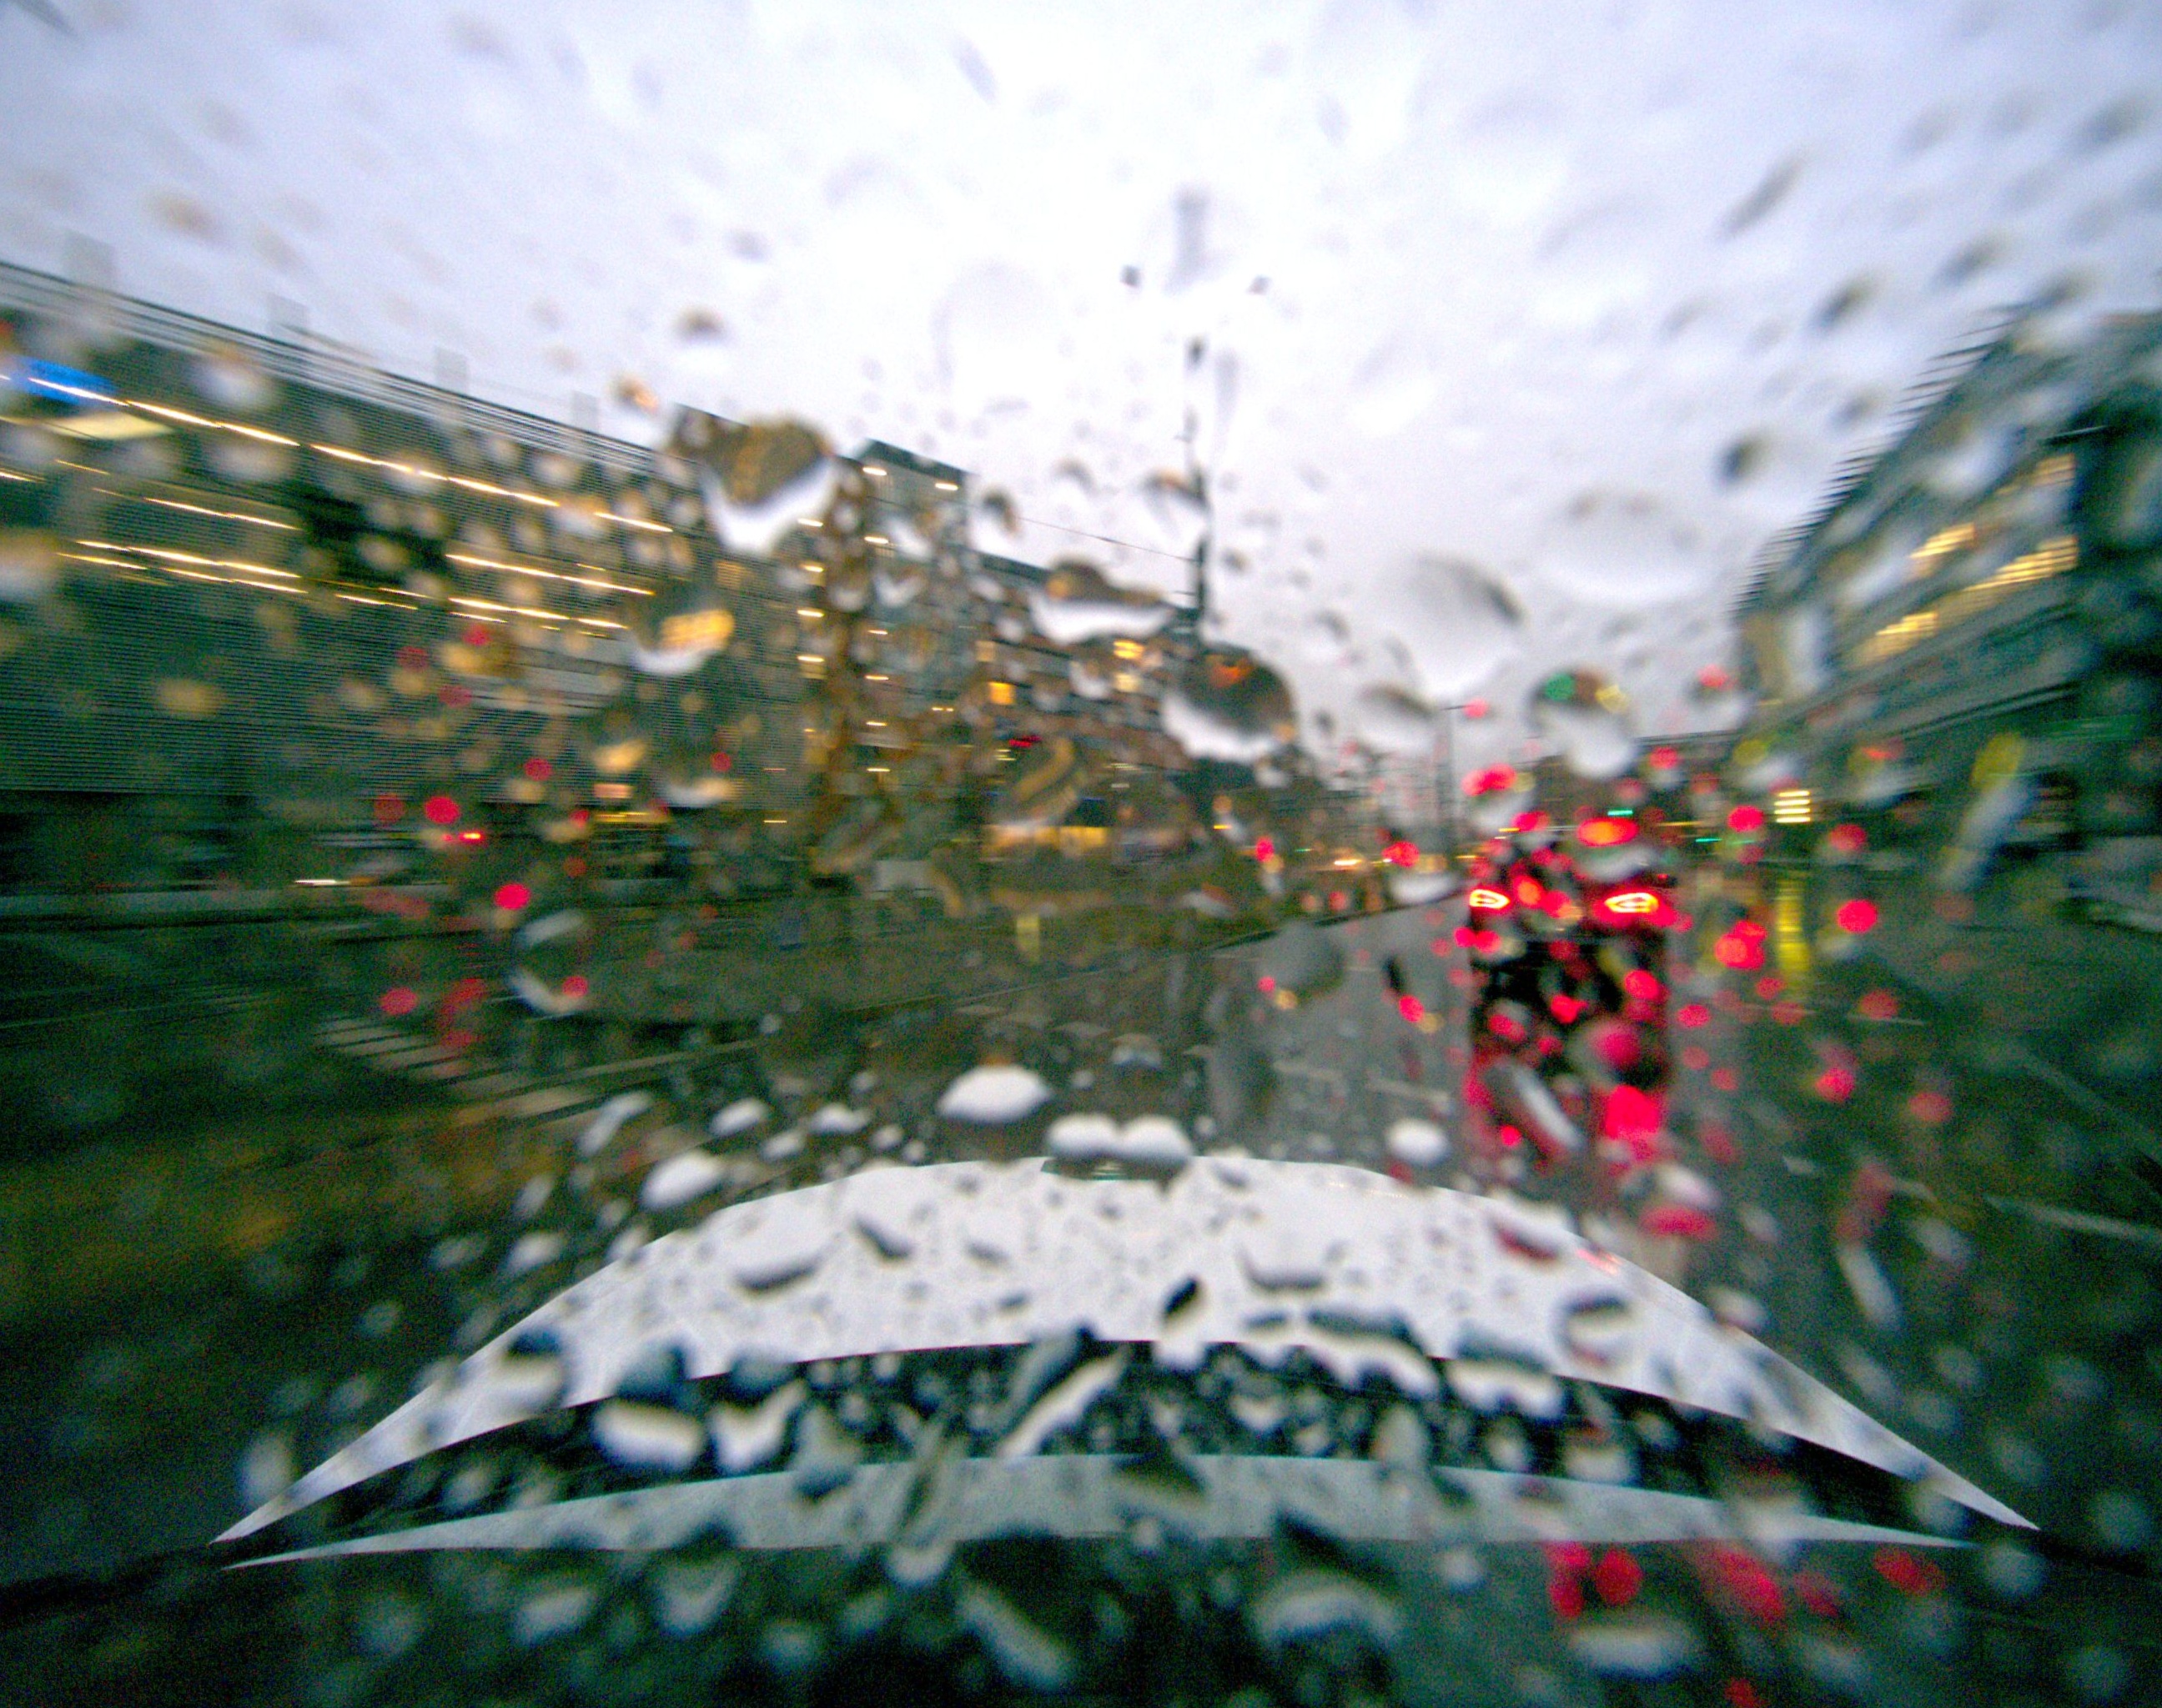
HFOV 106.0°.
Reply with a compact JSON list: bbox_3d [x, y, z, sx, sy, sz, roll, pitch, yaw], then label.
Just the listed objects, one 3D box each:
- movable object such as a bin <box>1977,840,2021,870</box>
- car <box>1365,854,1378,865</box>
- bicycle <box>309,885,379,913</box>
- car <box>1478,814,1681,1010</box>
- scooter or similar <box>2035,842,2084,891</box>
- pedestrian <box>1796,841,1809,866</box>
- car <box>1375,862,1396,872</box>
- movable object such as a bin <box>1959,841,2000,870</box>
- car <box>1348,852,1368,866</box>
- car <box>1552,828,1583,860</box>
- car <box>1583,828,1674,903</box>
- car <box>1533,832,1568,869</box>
[{"bbox_3d":[41.308,0.066,36.649,0.836,1.294,1.175,-3,-2,24],"label":"movable object such as a bin"},{"bbox_3d":[35.800,0.686,100.405,1.493,1.373,3.670,-1,-1,19],"label":"car"},{"bbox_3d":[-30.402,1.839,33.622,2.102,1.122,0.471,1,-2,-40],"label":"bicycle"},{"bbox_3d":[5.935,0.526,9.527,1.657,1.779,4.026,-1,0,35],"label":"car"},{"bbox_3d":[25.329,0.330,21.104,1.565,1.227,0.662,1,-3,-44],"label":"scooter or similar"},{"bbox_3d":[49.068,-0.021,55.412,0.526,1.683,0.749,-1,-1,34],"label":"pedestrian"},{"bbox_3d":[42.684,1.790,114.106,1.712,1.393,4.226,-1,-1,35],"label":"car"},{"bbox_3d":[41.900,0.064,38.002,0.836,1.294,1.175,-3,-2,24],"label":"movable object such as a bin"},{"bbox_3d":[29.756,0.530,87.352,1.799,1.442,3.977,-1,-1,22],"label":"car"},{"bbox_3d":[45.859,-0.916,76.707,2.332,2.827,6.399,-1,-1,32],"label":"car"},{"bbox_3d":[14.870,0.287,22.082,1.825,1.806,4.515,-1,0,35],"label":"car"},{"bbox_3d":[32.848,-0.259,56.953,1.974,2.427,6.011,-1,-1,30],"label":"car"}]
